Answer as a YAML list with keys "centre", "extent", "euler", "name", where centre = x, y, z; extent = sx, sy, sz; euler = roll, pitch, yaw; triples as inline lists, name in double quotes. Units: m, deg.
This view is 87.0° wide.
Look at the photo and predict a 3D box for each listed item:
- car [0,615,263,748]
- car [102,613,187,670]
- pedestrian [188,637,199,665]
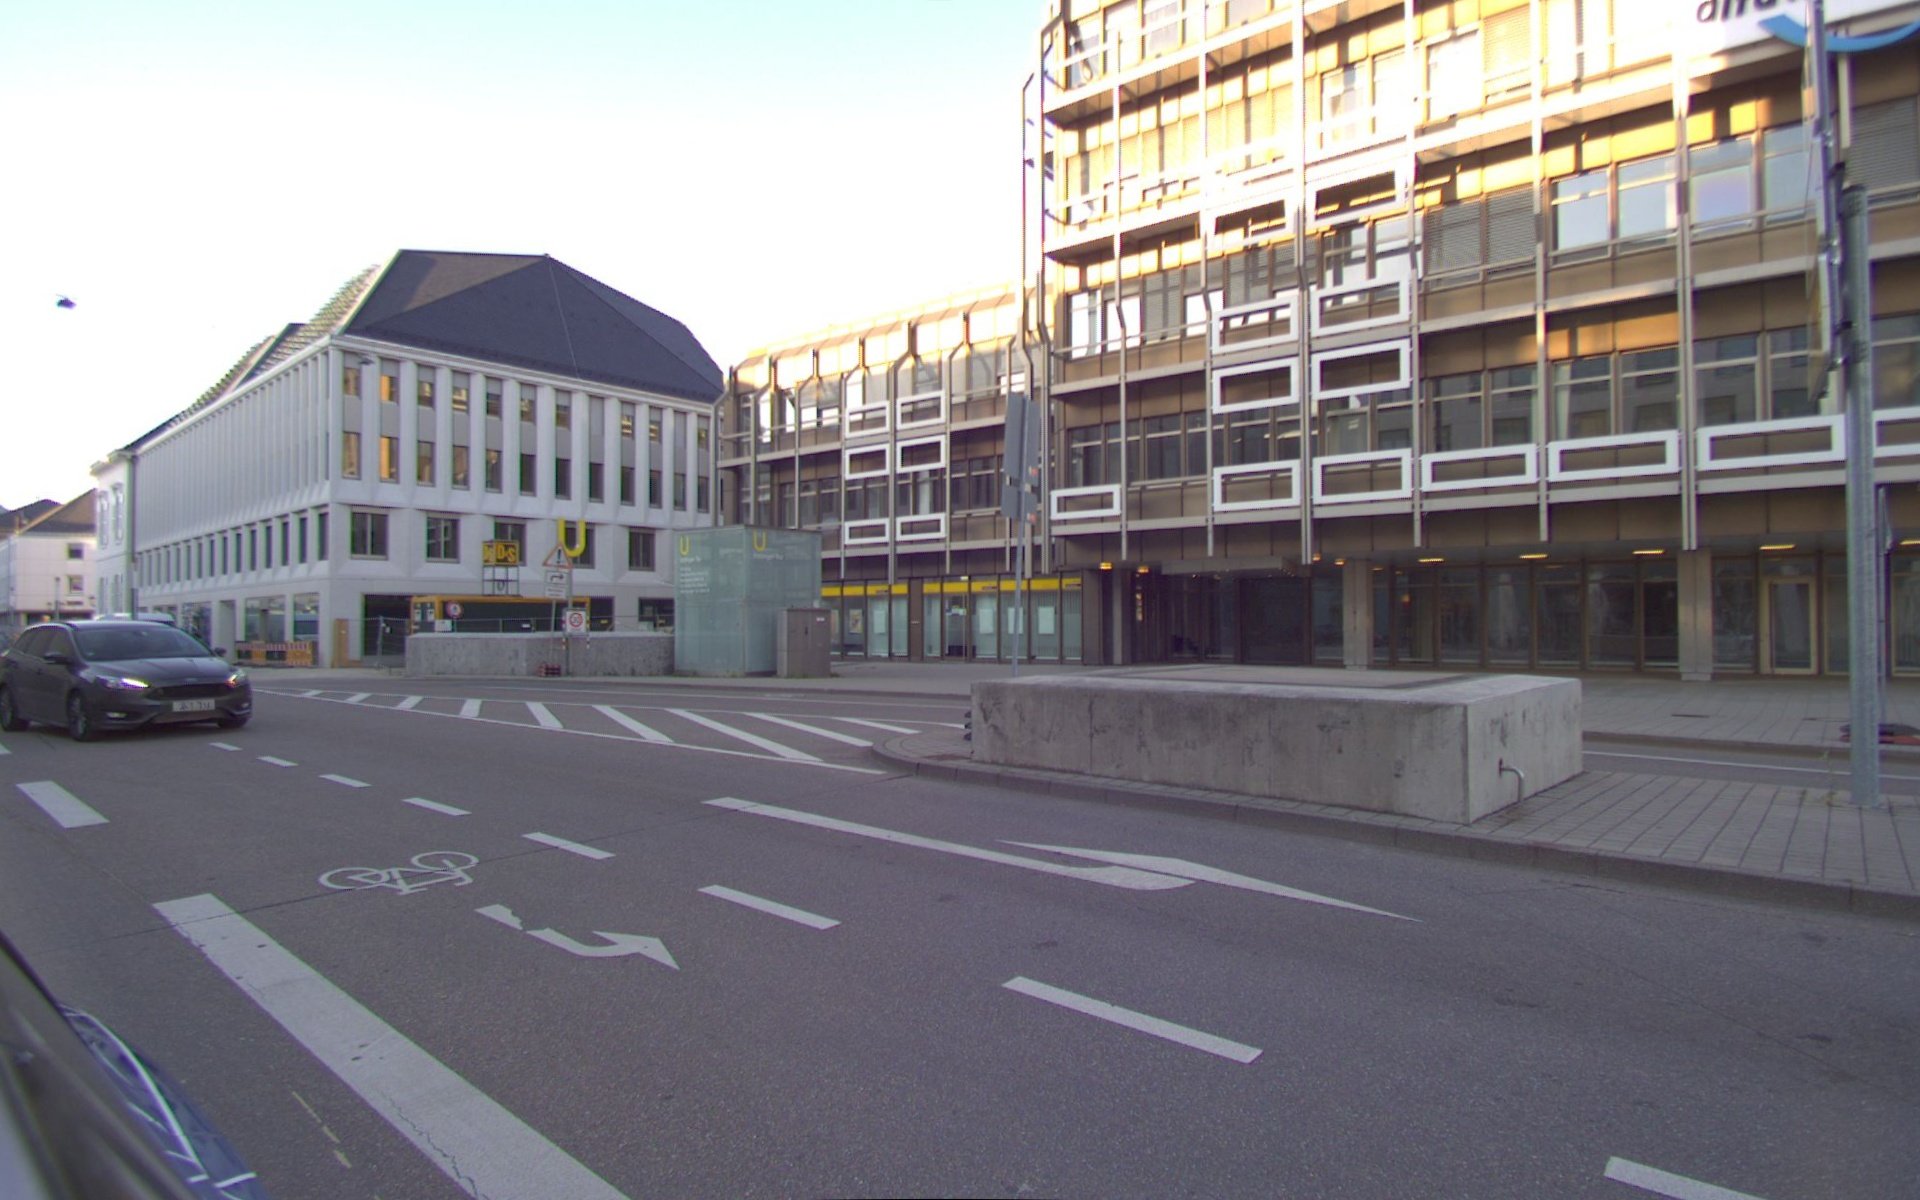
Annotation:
- centre: [-11.252, 0.997, 13.425]
  extent: [4.366, 1.473, 1.744]
  euler: [-2, -1, 33]
  name: "car"
- centre: [-38.838, 1.960, 48.156]
  extent: [6.047, 2.575, 2.114]
  euler: [-2, -3, 41]
  name: "car"
- centre: [-37.072, 2.468, 48.927]
  extent: [0.338, 1.326, 0.346]
  euler: [-2, -3, 41]
  name: "pedestrian"
